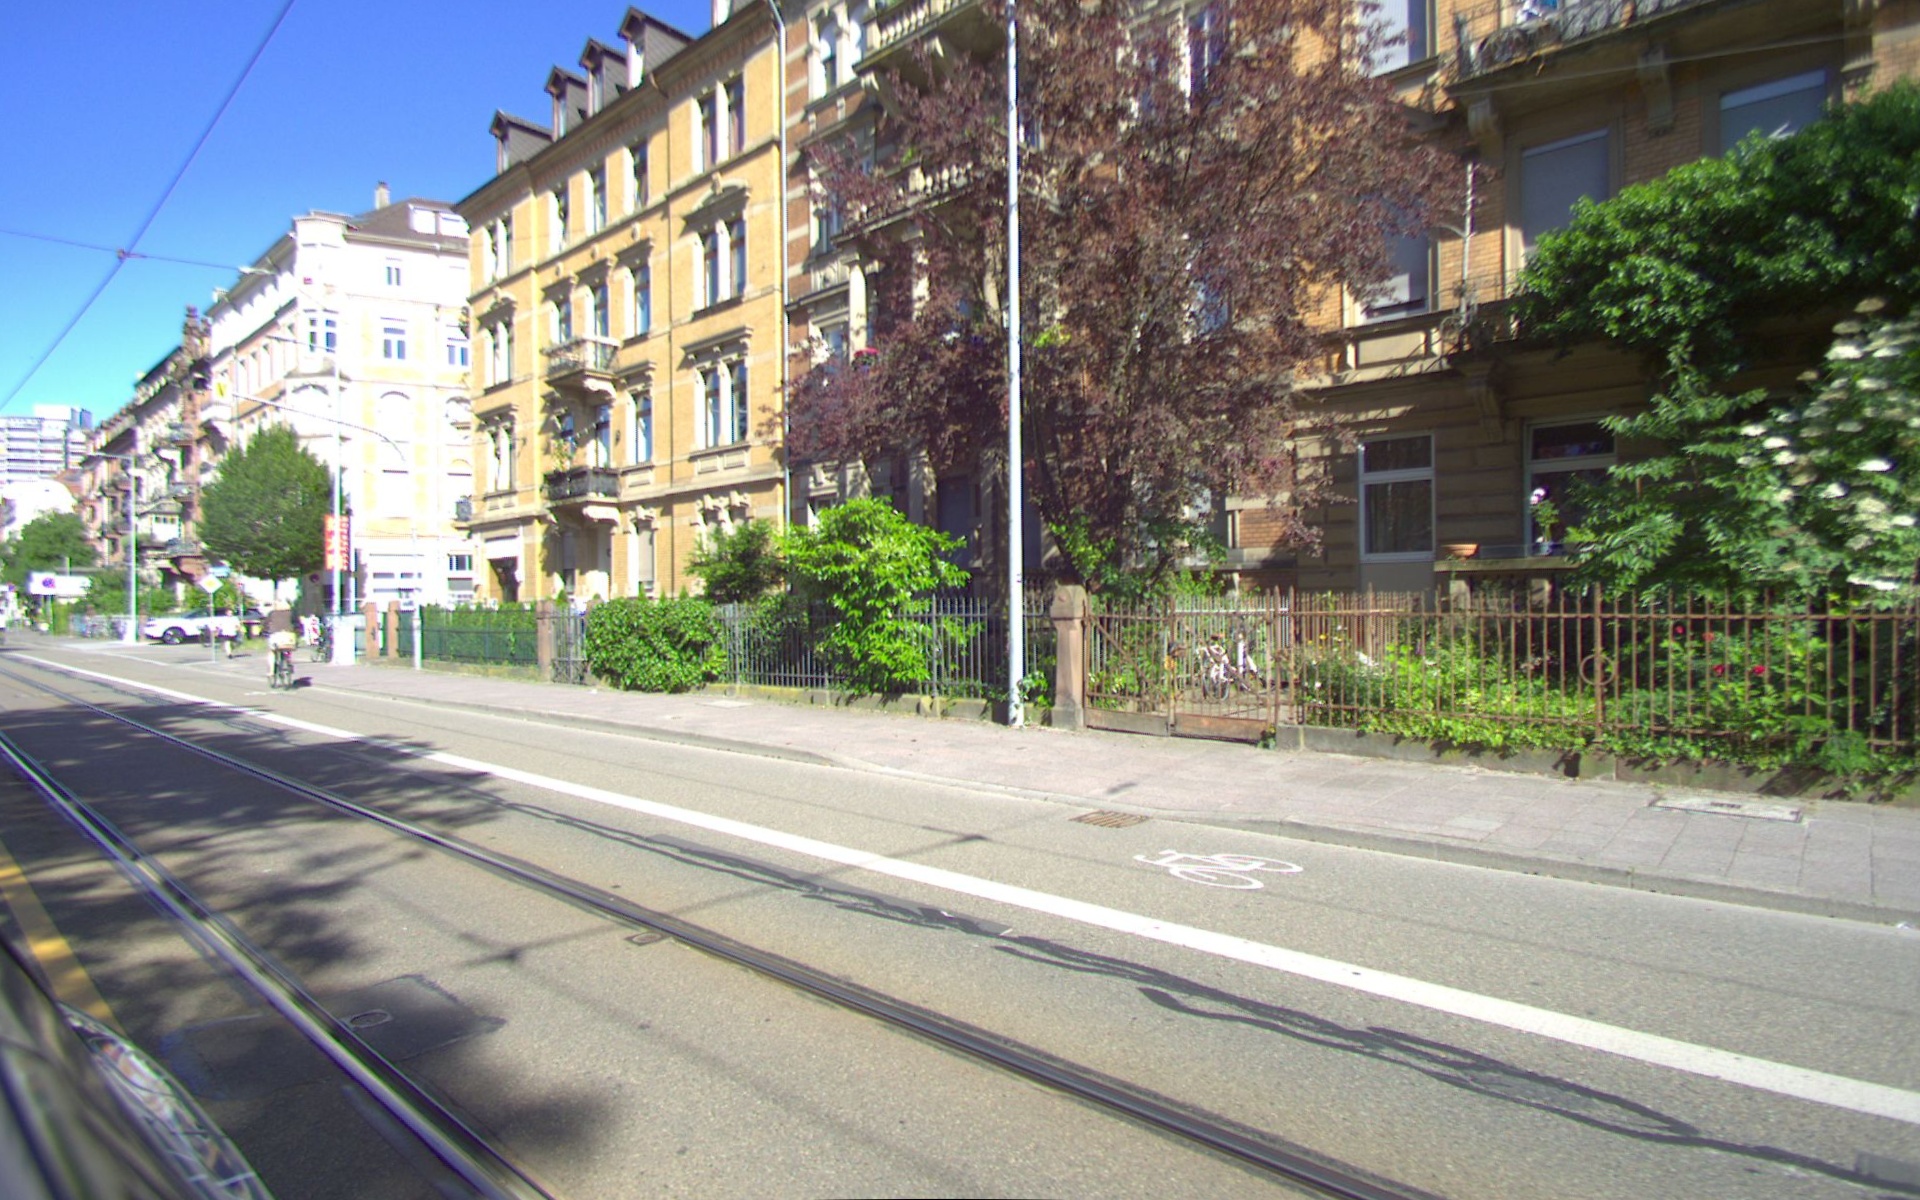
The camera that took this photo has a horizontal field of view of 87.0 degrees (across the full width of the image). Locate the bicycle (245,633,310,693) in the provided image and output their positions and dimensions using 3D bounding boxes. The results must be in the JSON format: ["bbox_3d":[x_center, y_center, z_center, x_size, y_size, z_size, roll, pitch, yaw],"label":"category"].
[{"bbox_3d":[-13.559,1.230,20.096,1.718,1.121,0.684,-1,-2,43],"label":"bicycle"}]

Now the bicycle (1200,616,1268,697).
[{"bbox_3d":[3.601,0.725,13.267,1.134,0.979,0.295,-2,1,-44],"label":"bicycle"}]

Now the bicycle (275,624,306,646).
[{"bbox_3d":[-30.554,1.593,46.208,0.244,0.921,1.540,0,1,6],"label":"bicycle"}]

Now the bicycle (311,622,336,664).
[{"bbox_3d":[-17.799,1.190,28.311,0.808,1.134,0.367,-1,1,42],"label":"bicycle"}]

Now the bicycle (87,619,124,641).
[{"bbox_3d":[-44.690,1.575,52.946,1.753,1.041,0.562,-3,3,18],"label":"bicycle"}]

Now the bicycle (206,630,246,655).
[{"bbox_3d":[-30.082,1.735,41.503,0.613,0.921,1.292,0,1,6],"label":"bicycle"}]

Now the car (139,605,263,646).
[{"bbox_3d":[-35.495,1.160,47.396,1.967,1.656,4.396,-1,1,45],"label":"car"}]

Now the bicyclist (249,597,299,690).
[{"bbox_3d":[-13.676,0.857,20.177,0.616,1.815,0.653,-1,-2,42],"label":"bicyclist"}]

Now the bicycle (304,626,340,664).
[{"bbox_3d":[-17.599,1.222,27.902,1.869,1.008,0.331,-1,1,43],"label":"bicycle"}]

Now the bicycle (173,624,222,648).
[{"bbox_3d":[-32.541,1.532,43.234,0.613,0.921,1.785,0,1,6],"label":"bicycle"}]

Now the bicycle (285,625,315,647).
[{"bbox_3d":[-30.195,1.637,46.300,0.244,0.921,1.540,0,1,6],"label":"bicycle"}]

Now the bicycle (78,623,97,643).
[{"bbox_3d":[-48.981,1.847,56.803,1.767,1.041,0.557,-2,1,42],"label":"bicycle"}]

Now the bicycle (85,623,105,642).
[{"bbox_3d":[-47.501,1.781,55.553,1.767,1.041,0.557,-2,1,42],"label":"bicycle"}]

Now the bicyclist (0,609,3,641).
[{"bbox_3d":[-50.174,1.308,52.674,0.744,1.631,0.459,-1,-3,42],"label":"bicyclist"}]

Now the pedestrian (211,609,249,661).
[{"bbox_3d":[-25.567,1.202,35.441,1.082,1.736,0.820,0,1,42],"label":"pedestrian"}]

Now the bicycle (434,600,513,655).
[{"bbox_3d":[-12.614,0.687,26.277,0.612,1.330,1.748,-2,1,33],"label":"bicycle"}]

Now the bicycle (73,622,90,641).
[{"bbox_3d":[-51.686,1.847,59.535,1.767,1.041,0.557,-3,0,43],"label":"bicycle"}]

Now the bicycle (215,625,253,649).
[{"bbox_3d":[-30.968,1.572,43.179,0.613,0.921,1.292,0,1,6],"label":"bicycle"}]

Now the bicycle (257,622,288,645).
[{"bbox_3d":[-29.783,1.448,43.841,0.611,0.921,1.297,0,1,-10],"label":"bicycle"}]

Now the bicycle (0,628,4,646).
[{"bbox_3d":[-50.157,1.925,52.661,2.202,0.933,0.455,-1,-2,43],"label":"bicycle"}]

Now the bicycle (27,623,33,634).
[{"bbox_3d":[-80.581,2.477,87.716,0.338,0.933,1.945,-2,1,-43],"label":"bicycle"}]

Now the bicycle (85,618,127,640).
[{"bbox_3d":[-43.554,1.476,51.625,1.746,1.041,0.564,-3,0,6],"label":"bicycle"}]

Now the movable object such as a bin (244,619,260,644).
[{"bbox_3d":[-31.793,1.413,45.462,0.568,1.079,0.718,-2,1,-34],"label":"movable object such as a bin"}]
